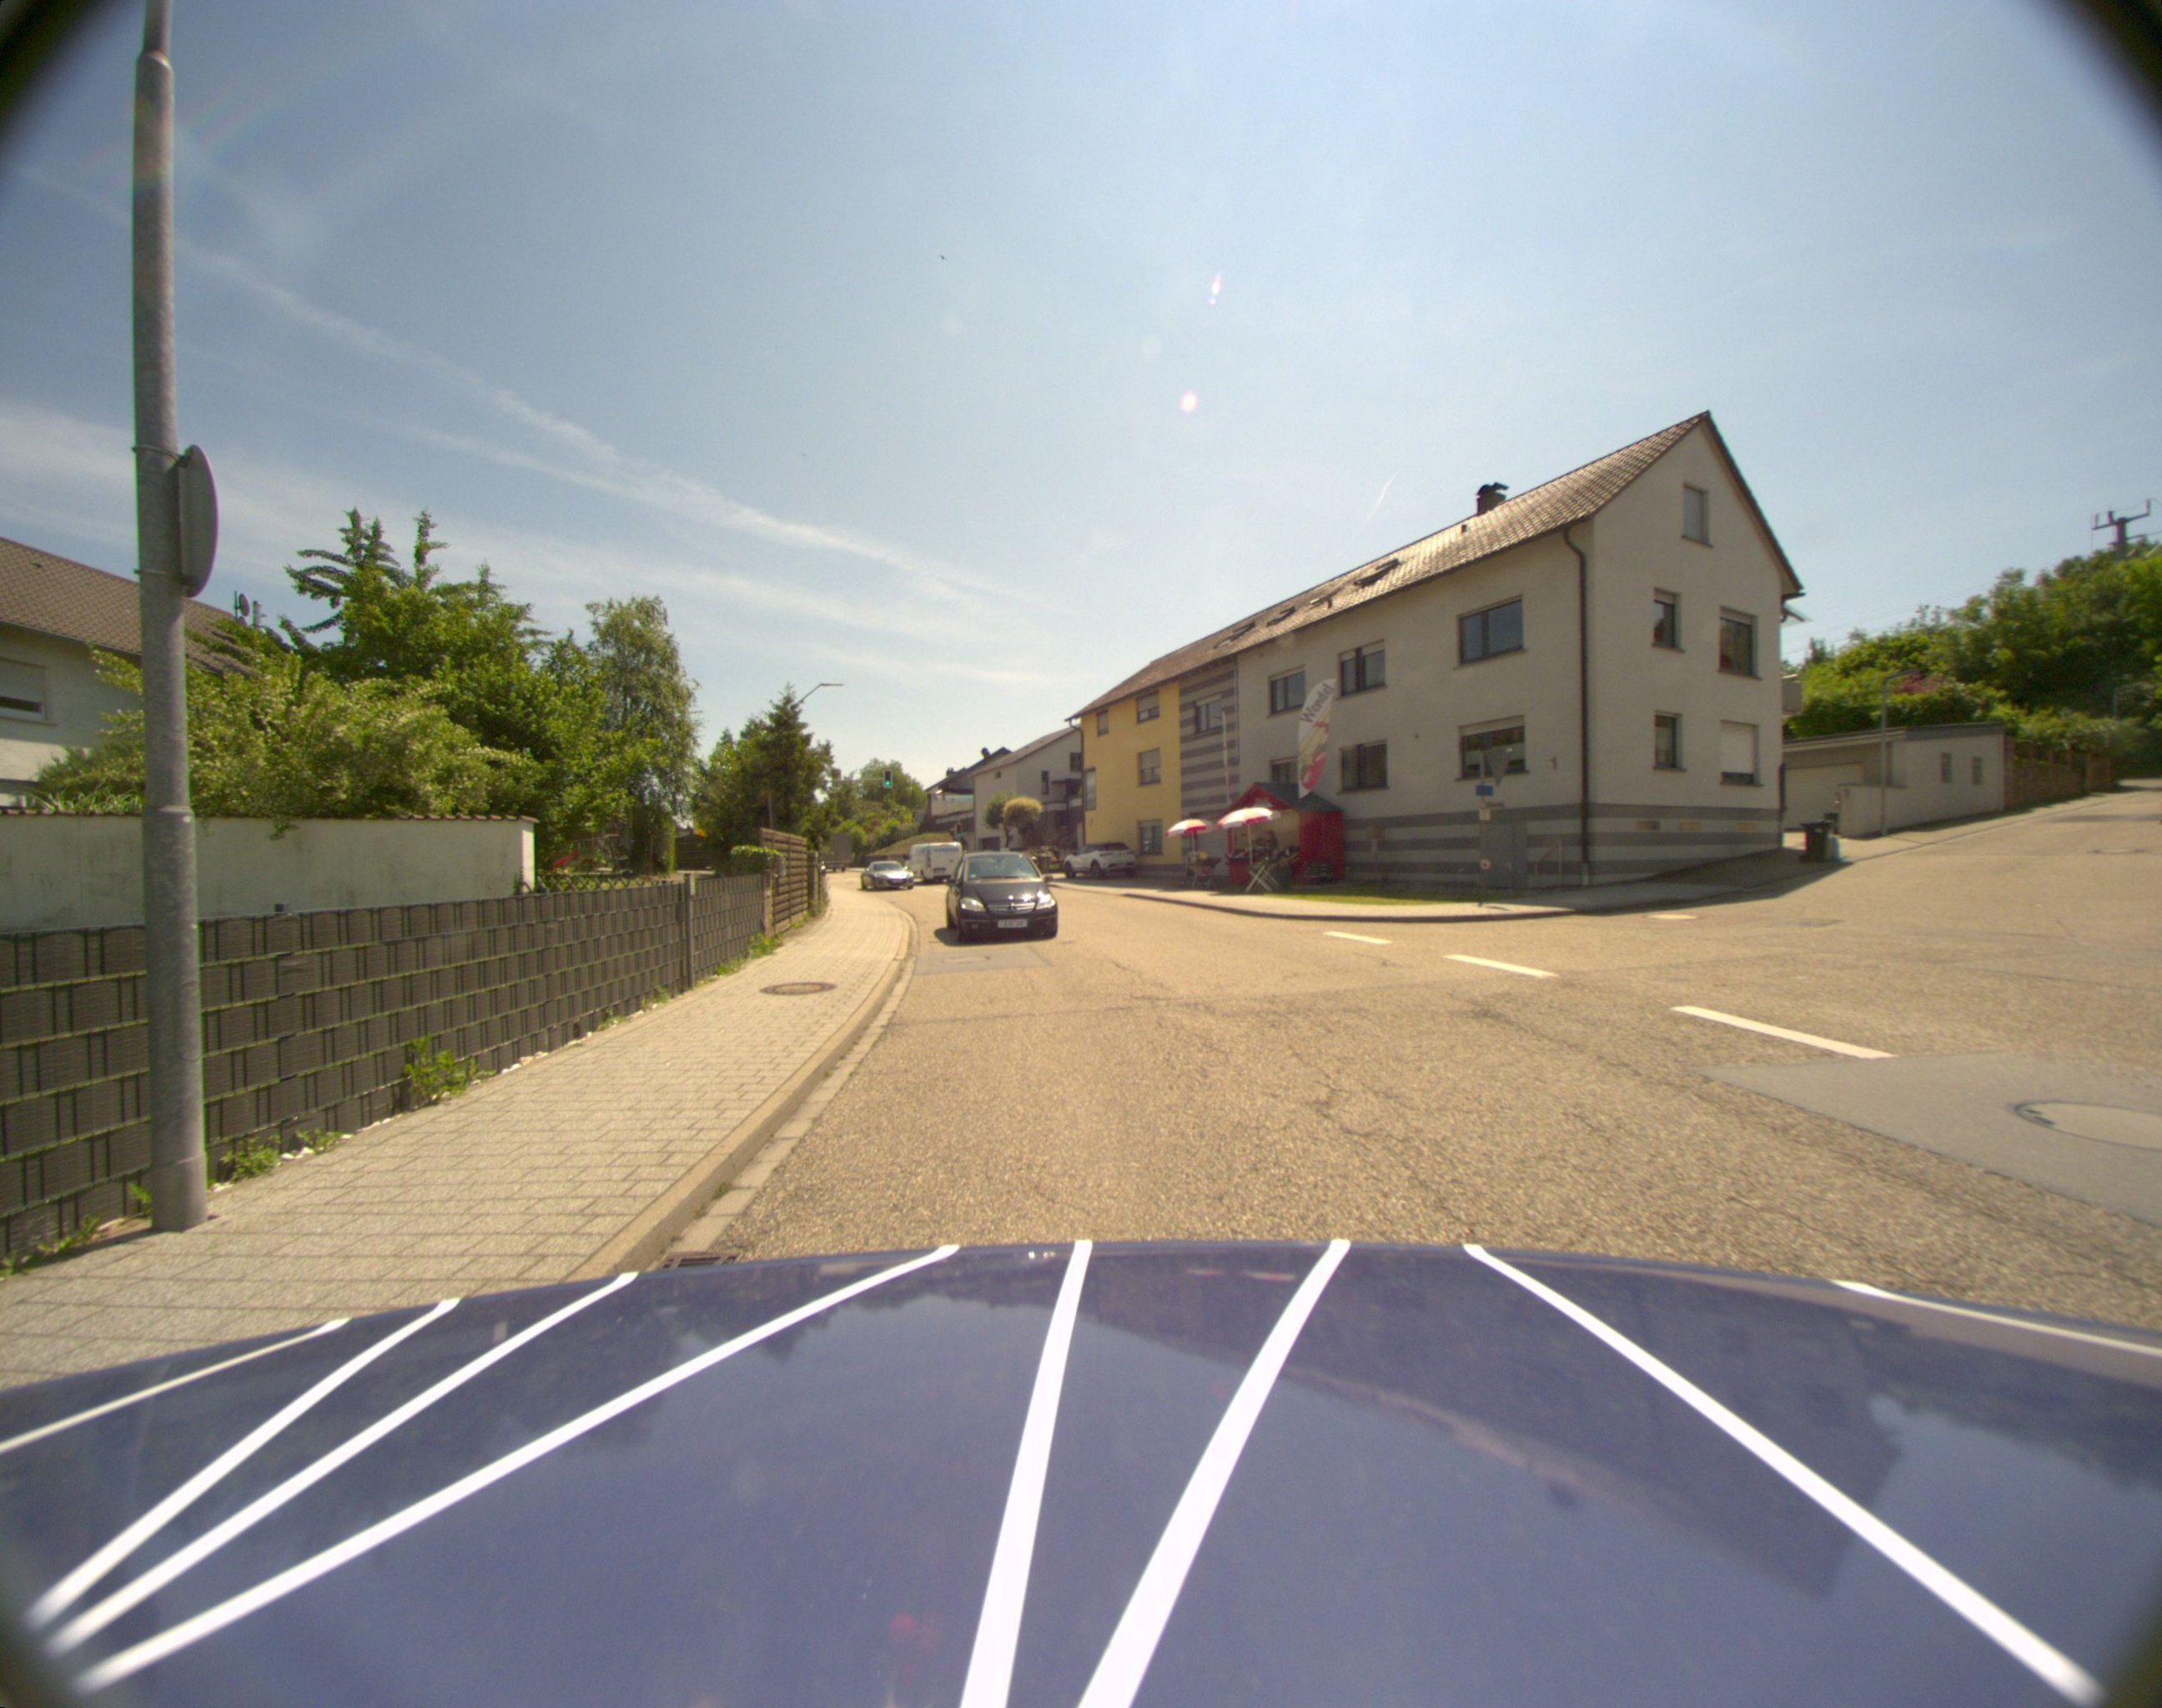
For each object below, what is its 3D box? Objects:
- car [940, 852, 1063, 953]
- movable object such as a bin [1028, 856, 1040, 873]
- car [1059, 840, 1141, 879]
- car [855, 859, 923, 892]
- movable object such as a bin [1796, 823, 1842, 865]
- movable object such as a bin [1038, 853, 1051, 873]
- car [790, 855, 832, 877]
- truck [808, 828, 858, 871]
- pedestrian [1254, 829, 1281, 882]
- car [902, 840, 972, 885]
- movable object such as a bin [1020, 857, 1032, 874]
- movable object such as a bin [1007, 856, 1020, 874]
[{"bbox_3d":[-1.706,0.807,14.892,1.766,1.583,4.192,-2,1,-14],"label":"car"},{"bbox_3d":[-2.538,0.578,41.347,0.449,0.933,0.530,-2,1,-28],"label":"movable object such as a bin"},{"bbox_3d":[0.739,0.218,32.815,1.738,1.543,4.179,-2,1,-26],"label":"car"},{"bbox_3d":[-8.624,0.905,33.867,1.818,1.306,3.990,-2,1,-31],"label":"car"},{"bbox_3d":[16.781,-0.225,17.274,0.601,0.929,0.599,-2,1,-29],"label":"movable object such as a bin"},{"bbox_3d":[-1.999,0.483,41.497,0.473,1.049,0.633,-3,2,-28],"label":"movable object such as a bin"},{"bbox_3d":[-18.440,0.802,51.781,1.901,1.368,3.990,-2,1,-31],"label":"car"},{"bbox_3d":[-21.325,-0.382,65.010,2.477,3.349,7.599,-5,2,-29],"label":"truck"},{"bbox_3d":[5.656,0.043,23.005,0.611,1.578,0.810,-1,1,24],"label":"pedestrian"},{"bbox_3d":[-7.360,0.377,38.275,2.002,1.988,5.202,-4,2,-27],"label":"car"},{"bbox_3d":[-2.981,0.608,41.082,0.449,0.923,0.560,-3,2,-28],"label":"movable object such as a bin"},{"bbox_3d":[-3.623,0.562,40.778,0.503,0.943,0.552,-2,2,-28],"label":"movable object such as a bin"}]
